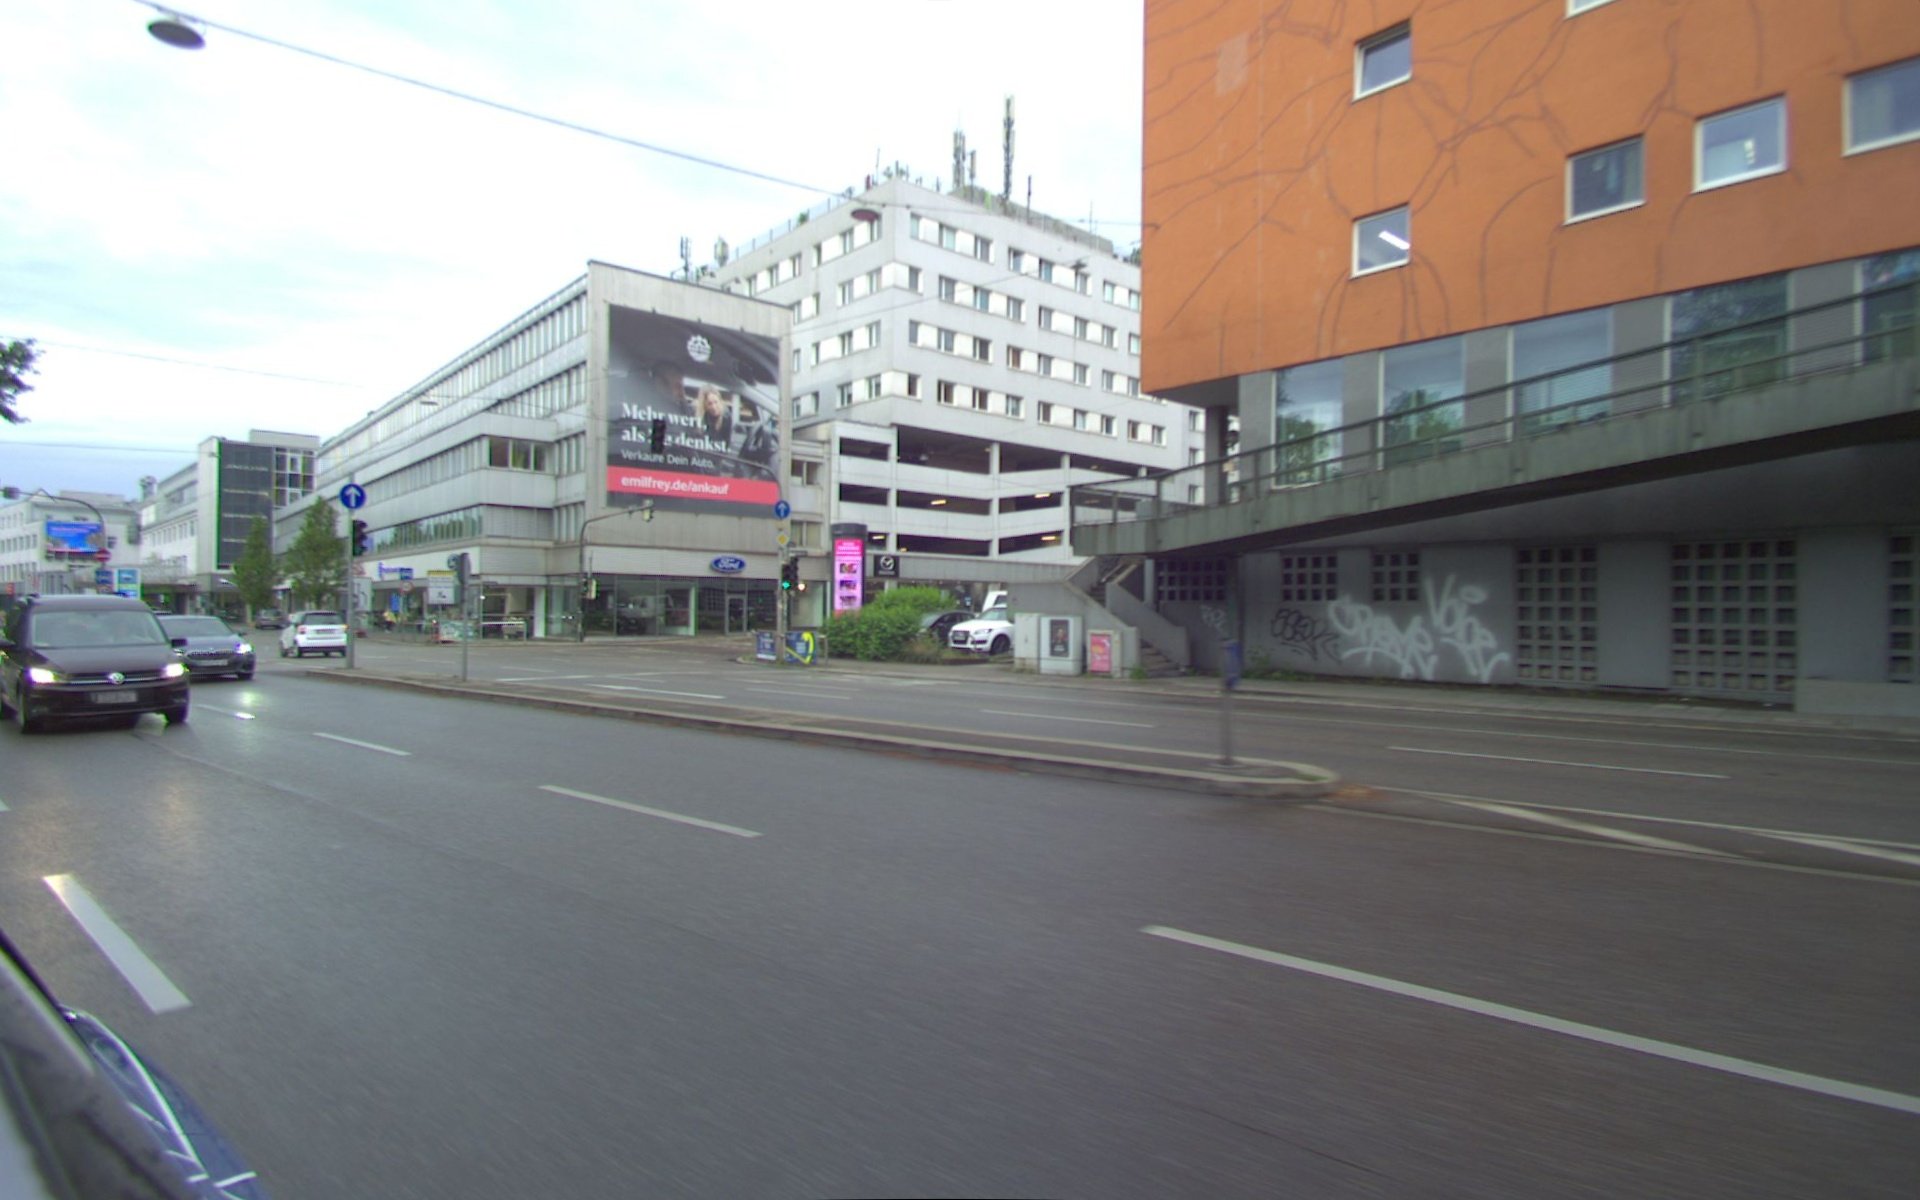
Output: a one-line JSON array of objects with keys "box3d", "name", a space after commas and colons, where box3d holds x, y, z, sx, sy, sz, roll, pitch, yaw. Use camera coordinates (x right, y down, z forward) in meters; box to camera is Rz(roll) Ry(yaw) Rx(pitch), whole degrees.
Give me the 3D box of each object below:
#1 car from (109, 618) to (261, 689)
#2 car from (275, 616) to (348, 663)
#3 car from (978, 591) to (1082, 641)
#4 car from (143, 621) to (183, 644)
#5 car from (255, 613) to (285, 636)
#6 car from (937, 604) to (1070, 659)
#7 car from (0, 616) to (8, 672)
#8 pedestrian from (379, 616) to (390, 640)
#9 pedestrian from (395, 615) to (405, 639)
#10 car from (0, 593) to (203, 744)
[{"box3d": [-17.321, 1.183, 22.540, 4.533, 1.426, 1.649, -3, -2, 38], "name": "car"}, {"box3d": [-21.743, 1.308, 33.926, 2.772, 1.489, 1.504, -1, -1, 45], "name": "car"}, {"box3d": [2.934, 0.682, 43.114, 4.137, 2.029, 1.971, -1, -1, 44], "name": "car"}, {"box3d": [-52.816, 2.102, 67.036, 1.661, 1.450, 4.003, 0, -1, -44], "name": "car"}, {"box3d": [-60.866, 2.155, 89.253, 1.856, 1.881, 4.007, 0, -1, -40], "name": "car"}, {"box3d": [1.466, 0.963, 32.830, 4.242, 1.637, 1.937, 0, -1, -44], "name": "car"}, {"box3d": [-29.570, 1.292, 29.906, 3.998, 1.625, 1.709, -1, -1, 41], "name": "car"}, {"box3d": [-37.419, 1.795, 65.784, 0.567, 1.542, 0.454, 0, -1, -43], "name": "pedestrian"}, {"box3d": [-36.800, 1.783, 66.489, 0.431, 1.542, 0.514, 0, -1, -43], "name": "pedestrian"}, {"box3d": [-12.225, 0.861, 14.157, 3.998, 1.804, 1.818, -2, -1, 41], "name": "car"}]
